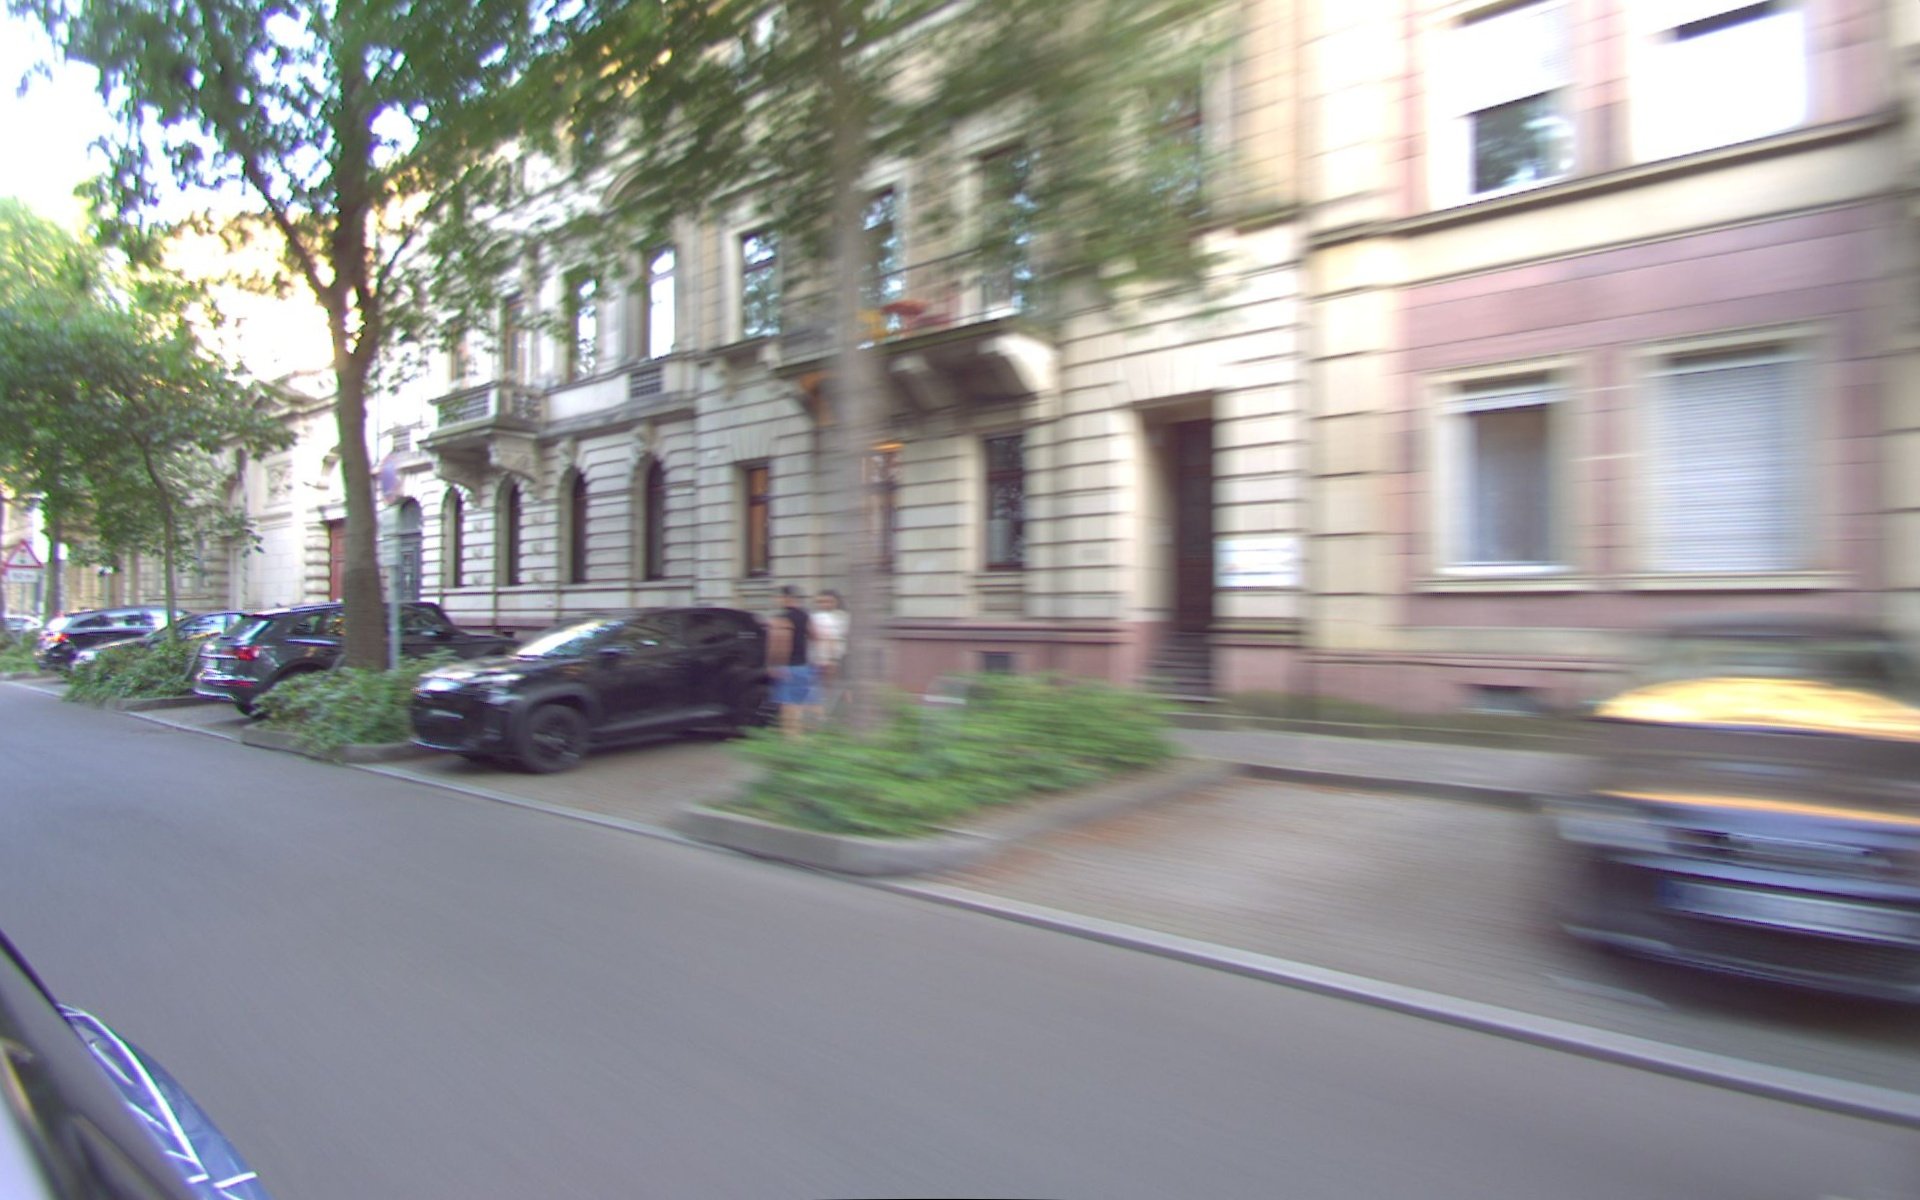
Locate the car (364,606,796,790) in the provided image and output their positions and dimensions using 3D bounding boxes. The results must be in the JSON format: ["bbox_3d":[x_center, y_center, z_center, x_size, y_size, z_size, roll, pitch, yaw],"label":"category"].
[{"bbox_3d":[-3.868,0.854,10.794,1.906,1.544,3.905,-1,0,40],"label":"car"}]

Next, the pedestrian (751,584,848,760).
[{"bbox_3d":[-1.678,0.721,10.566,0.671,1.752,0.726,-1,-1,45],"label":"pedestrian"}]

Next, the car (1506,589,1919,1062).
[{"bbox_3d":[3.987,0.711,4.798,1.870,1.469,3.657,-2,0,38],"label":"car"}]

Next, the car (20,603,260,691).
[{"bbox_3d":[-18.662,0.982,23.168,1.778,1.608,3.928,-1,3,38],"label":"car"}]

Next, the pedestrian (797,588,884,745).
[{"bbox_3d":[-1.394,0.744,11.813,0.671,1.752,0.726,-1,-1,45],"label":"pedestrian"}]

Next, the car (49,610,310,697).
[{"bbox_3d":[-15.984,1.033,20.881,1.763,1.397,3.926,-2,1,39],"label":"car"}]

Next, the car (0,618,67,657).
[{"bbox_3d":[-36.119,1.384,37.382,1.914,1.401,4.468,-1,-1,39],"label":"car"}]

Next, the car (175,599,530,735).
[{"bbox_3d":[-8.932,0.880,15.173,1.905,1.684,4.161,-2,0,38],"label":"car"}]

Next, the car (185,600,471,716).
[{"bbox_3d":[-10.600,0.896,17.192,1.711,1.684,3.766,-2,0,37],"label":"car"}]

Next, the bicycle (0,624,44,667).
[{"bbox_3d":[-28.005,1.335,29.601,0.500,1.241,1.751,0,0,43],"label":"bicycle"}]
